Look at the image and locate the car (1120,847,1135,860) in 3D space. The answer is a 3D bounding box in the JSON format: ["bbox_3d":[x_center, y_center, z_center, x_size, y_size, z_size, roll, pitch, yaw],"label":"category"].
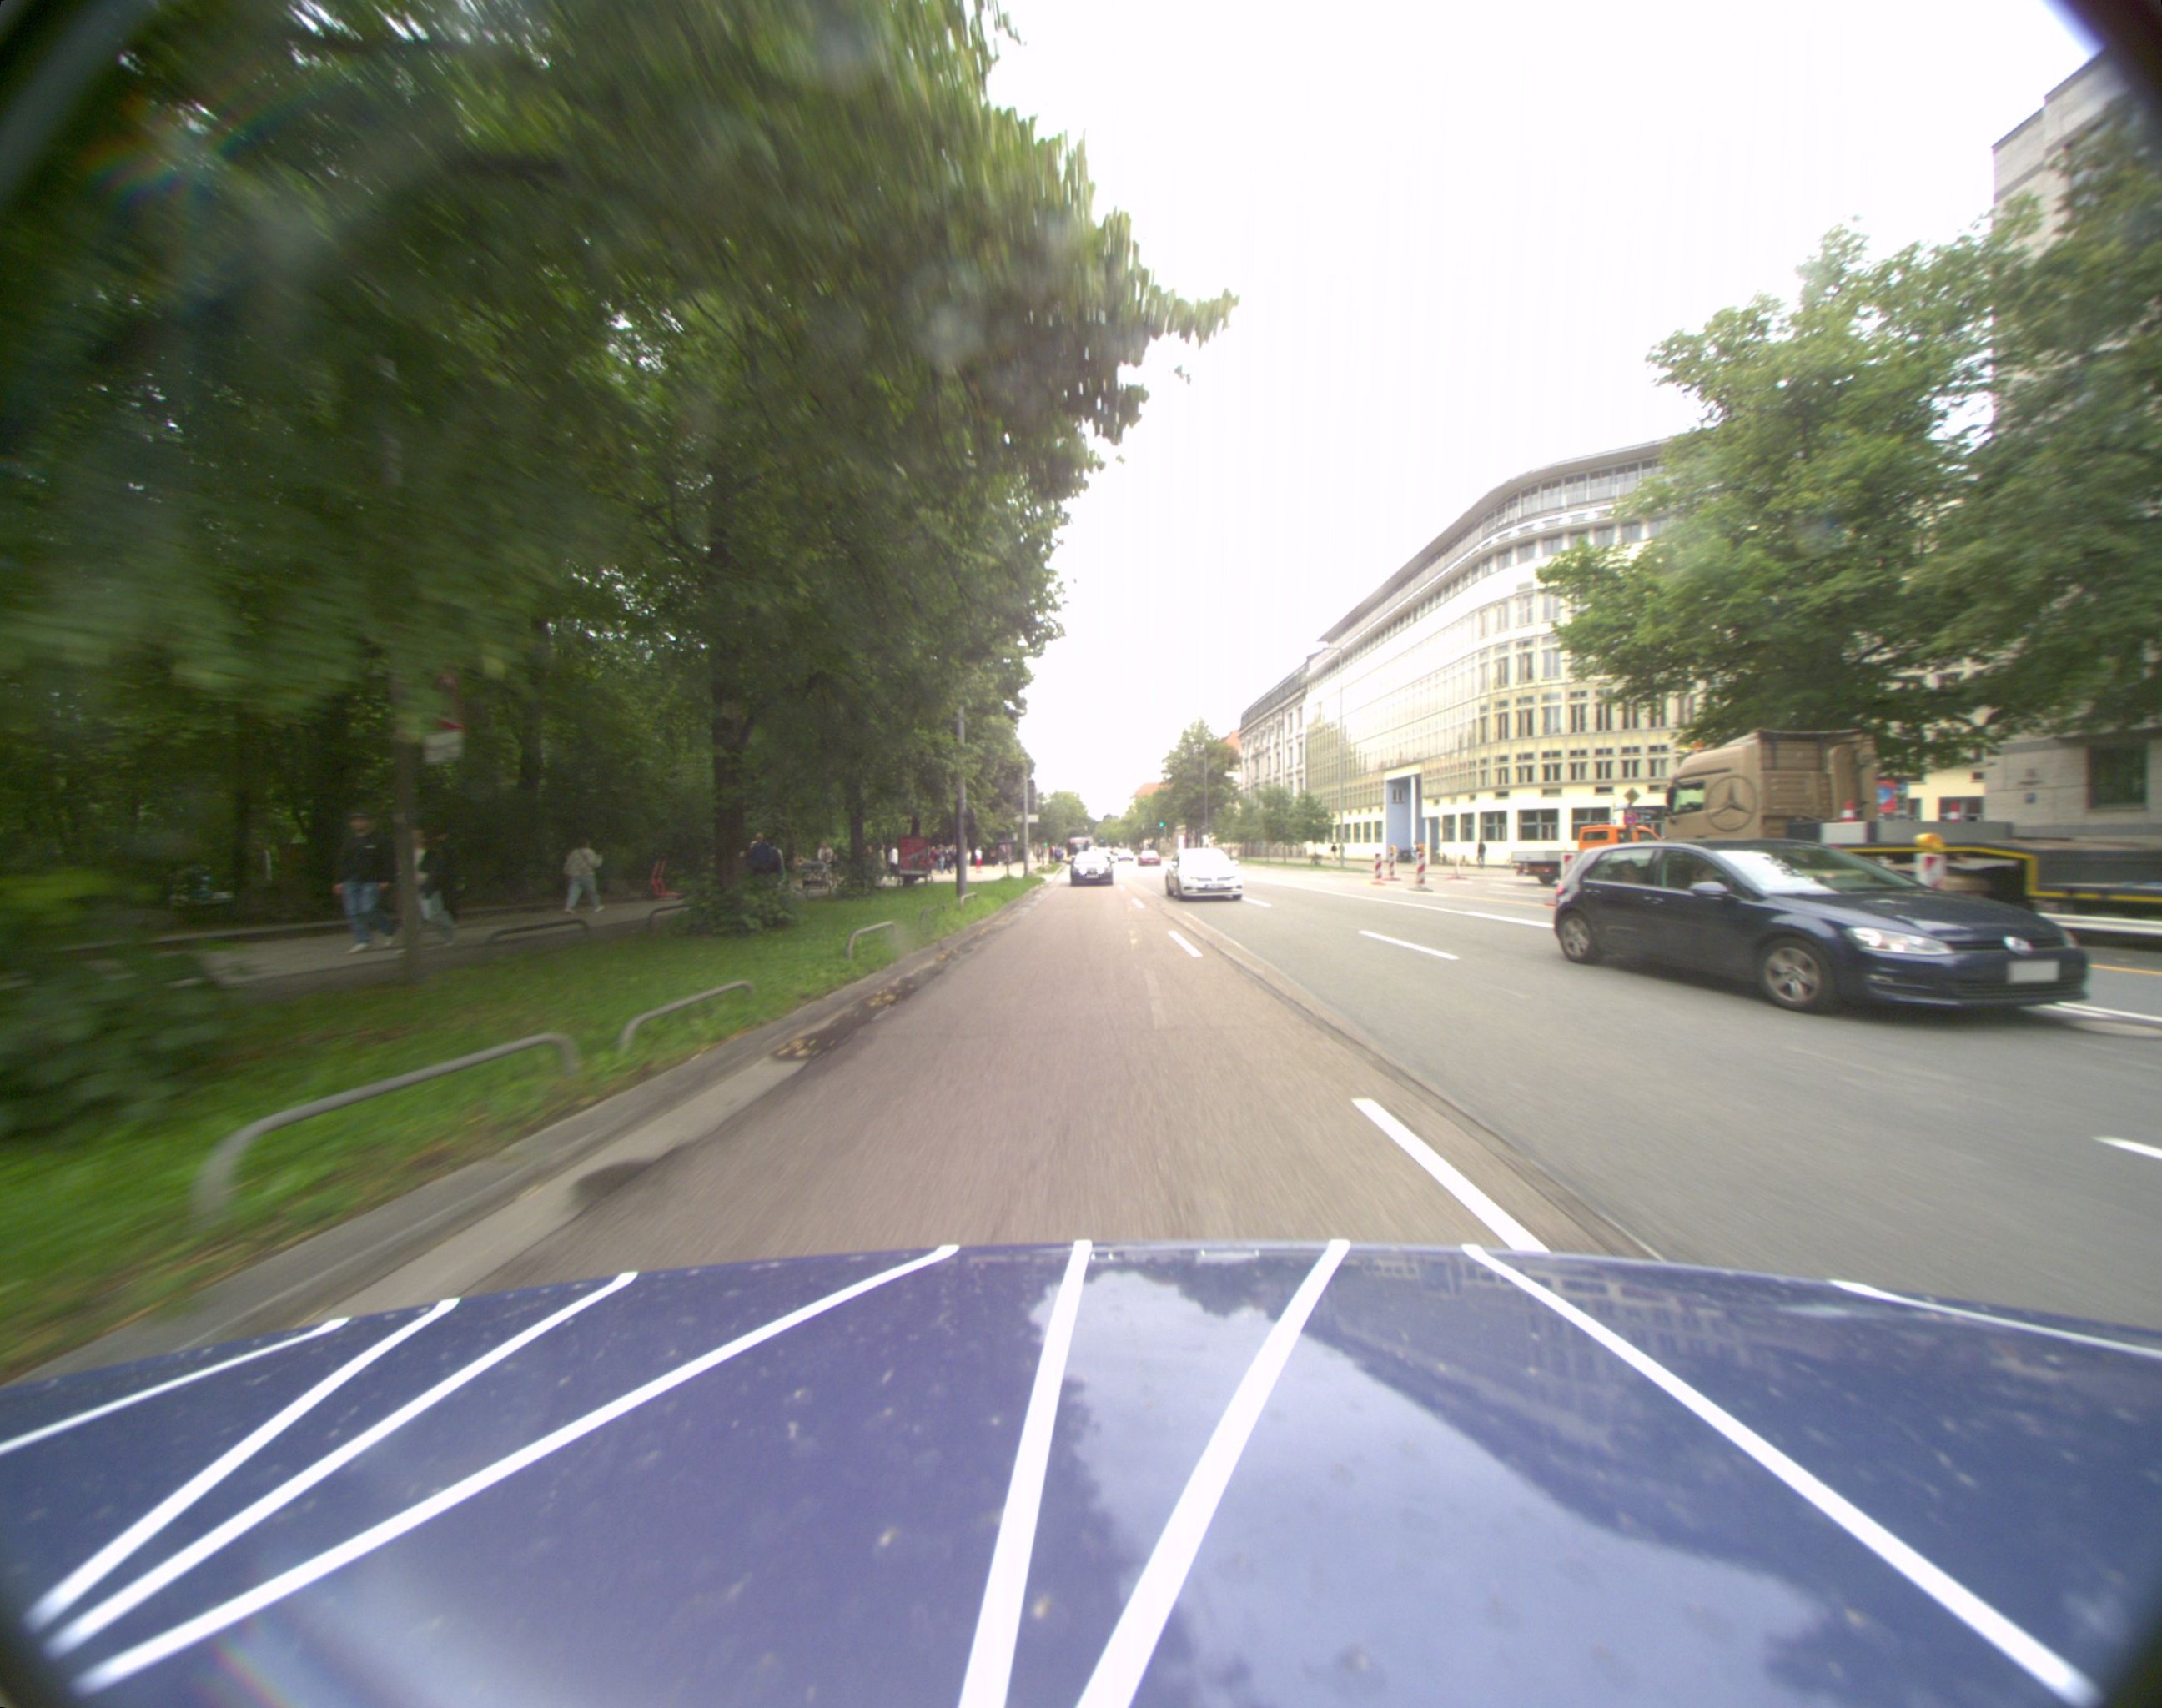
[{"bbox_3d":[5.821,-0.025,94.611,1.638,1.562,3.945,-1,1,0],"label":"car"}]

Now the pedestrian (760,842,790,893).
[{"bbox_3d":[-9.844,0.424,24.448,0.682,1.628,0.601,0,1,1],"label":"pedestrian"}]

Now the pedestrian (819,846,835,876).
[{"bbox_3d":[-14.807,0.412,44.283,0.694,1.686,0.610,-3,2,-35],"label":"pedestrian"}]

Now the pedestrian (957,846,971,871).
[{"bbox_3d":[-7.542,0.273,48.977,0.694,1.569,0.610,-3,2,-35],"label":"pedestrian"}]

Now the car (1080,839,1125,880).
[{"bbox_3d":[0.859,0.180,32.736,1.797,1.627,4.274,-1,1,-1],"label":"car"}]

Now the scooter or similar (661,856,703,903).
[{"bbox_3d":[-10.823,0.674,20.636,0.305,1.217,0.928,0,2,39],"label":"scooter or similar"}]

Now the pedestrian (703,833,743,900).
[{"bbox_3d":[-9.872,0.330,20.984,0.589,1.812,0.849,-2,1,1],"label":"pedestrian"}]

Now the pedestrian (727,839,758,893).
[{"bbox_3d":[-10.480,0.355,23.543,0.683,1.628,0.663,-2,1,-11],"label":"pedestrian"}]

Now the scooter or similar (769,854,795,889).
[{"bbox_3d":[-10.689,0.625,27.191,0.419,1.192,1.219,-2,1,0],"label":"scooter or similar"}]

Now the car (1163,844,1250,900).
[{"bbox_3d":[3.549,0.461,22.258,1.797,1.439,4.274,-1,1,-1],"label":"car"}]

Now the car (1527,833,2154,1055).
[{"bbox_3d":[6.489,0.589,7.383,1.696,1.507,4.337,-1,1,-1],"label":"car"}]

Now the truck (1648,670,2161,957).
[{"bbox_3d":[14.906,-0.612,13.908,2.924,3.753,7.661,-2,1,-4],"label":"truck"}]

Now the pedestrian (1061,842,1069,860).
[{"bbox_3d":[-1.587,-0.307,76.774,0.710,1.798,0.639,-2,1,0],"label":"pedestrian"}]

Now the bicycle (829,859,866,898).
[{"bbox_3d":[-6.722,0.688,21.964,0.385,1.015,2.078,-2,1,1],"label":"bicycle"}]

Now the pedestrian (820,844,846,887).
[{"bbox_3d":[-8.916,0.416,27.306,0.682,1.506,0.562,-2,1,1],"label":"pedestrian"}]

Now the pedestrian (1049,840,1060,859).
[{"bbox_3d":[-2.592,-0.415,74.974,0.804,1.870,0.545,-1,2,36],"label":"pedestrian"}]

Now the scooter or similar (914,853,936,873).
[{"bbox_3d":[-10.029,0.579,48.833,1.563,1.249,0.349,-1,1,31],"label":"scooter or similar"}]

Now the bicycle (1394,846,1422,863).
[{"bbox_3d":[26.430,0.006,61.448,2.014,1.311,0.574,-2,1,-5],"label":"bicycle"}]

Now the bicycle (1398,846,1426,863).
[{"bbox_3d":[26.470,0.037,60.820,2.014,1.311,0.574,-2,1,-5],"label":"bicycle"}]

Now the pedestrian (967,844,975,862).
[{"bbox_3d":[-10.360,-0.090,71.601,0.637,1.617,0.533,-2,1,2],"label":"pedestrian"}]

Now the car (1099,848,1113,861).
[{"bbox_3d":[3.247,0.058,98.635,1.638,1.562,3.945,-1,1,0],"label":"car"}]

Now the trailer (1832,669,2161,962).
[{"bbox_3d":[15.361,-0.514,7.821,2.958,3.719,11.764,-2,1,-5],"label":"trailer"}]

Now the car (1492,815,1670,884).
[{"bbox_3d":[19.511,-0.193,29.810,5.697,2.522,2.155,-1,1,-4],"label":"car"}]

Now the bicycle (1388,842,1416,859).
[{"bbox_3d":[26.339,-0.325,62.285,2.014,1.311,0.638,-2,1,-5],"label":"bicycle"}]

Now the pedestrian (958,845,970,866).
[{"bbox_3d":[-10.179,0.145,66.145,0.814,1.758,0.728,-2,1,2],"label":"pedestrian"}]

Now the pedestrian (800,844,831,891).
[{"bbox_3d":[-9.101,0.451,26.107,0.682,1.557,0.872,-2,1,1],"label":"pedestrian"}]

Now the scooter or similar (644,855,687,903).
[{"bbox_3d":[-10.915,0.655,19.980,0.305,1.217,0.928,0,2,39],"label":"scooter or similar"}]

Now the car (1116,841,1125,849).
[{"bbox_3d":[8.846,-1.936,169.936,1.862,1.738,4.629,1,1,0],"label":"car"}]

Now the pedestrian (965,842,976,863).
[{"bbox_3d":[-9.732,-0.154,66.866,0.814,1.819,0.728,-2,1,2],"label":"pedestrian"}]

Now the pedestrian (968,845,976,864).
[{"bbox_3d":[-10.399,0.015,72.583,0.637,1.758,0.533,-2,1,2],"label":"pedestrian"}]

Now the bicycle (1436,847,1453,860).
[{"bbox_3d":[25.442,-0.064,53.208,0.478,0.872,1.737,-1,1,3],"label":"bicycle"}]

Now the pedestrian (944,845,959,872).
[{"bbox_3d":[-8.285,0.283,48.738,0.694,1.642,0.610,-3,2,-33],"label":"pedestrian"}]

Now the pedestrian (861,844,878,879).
[{"bbox_3d":[-11.545,0.390,41.467,0.694,1.862,0.610,-3,2,-35],"label":"pedestrian"}]
